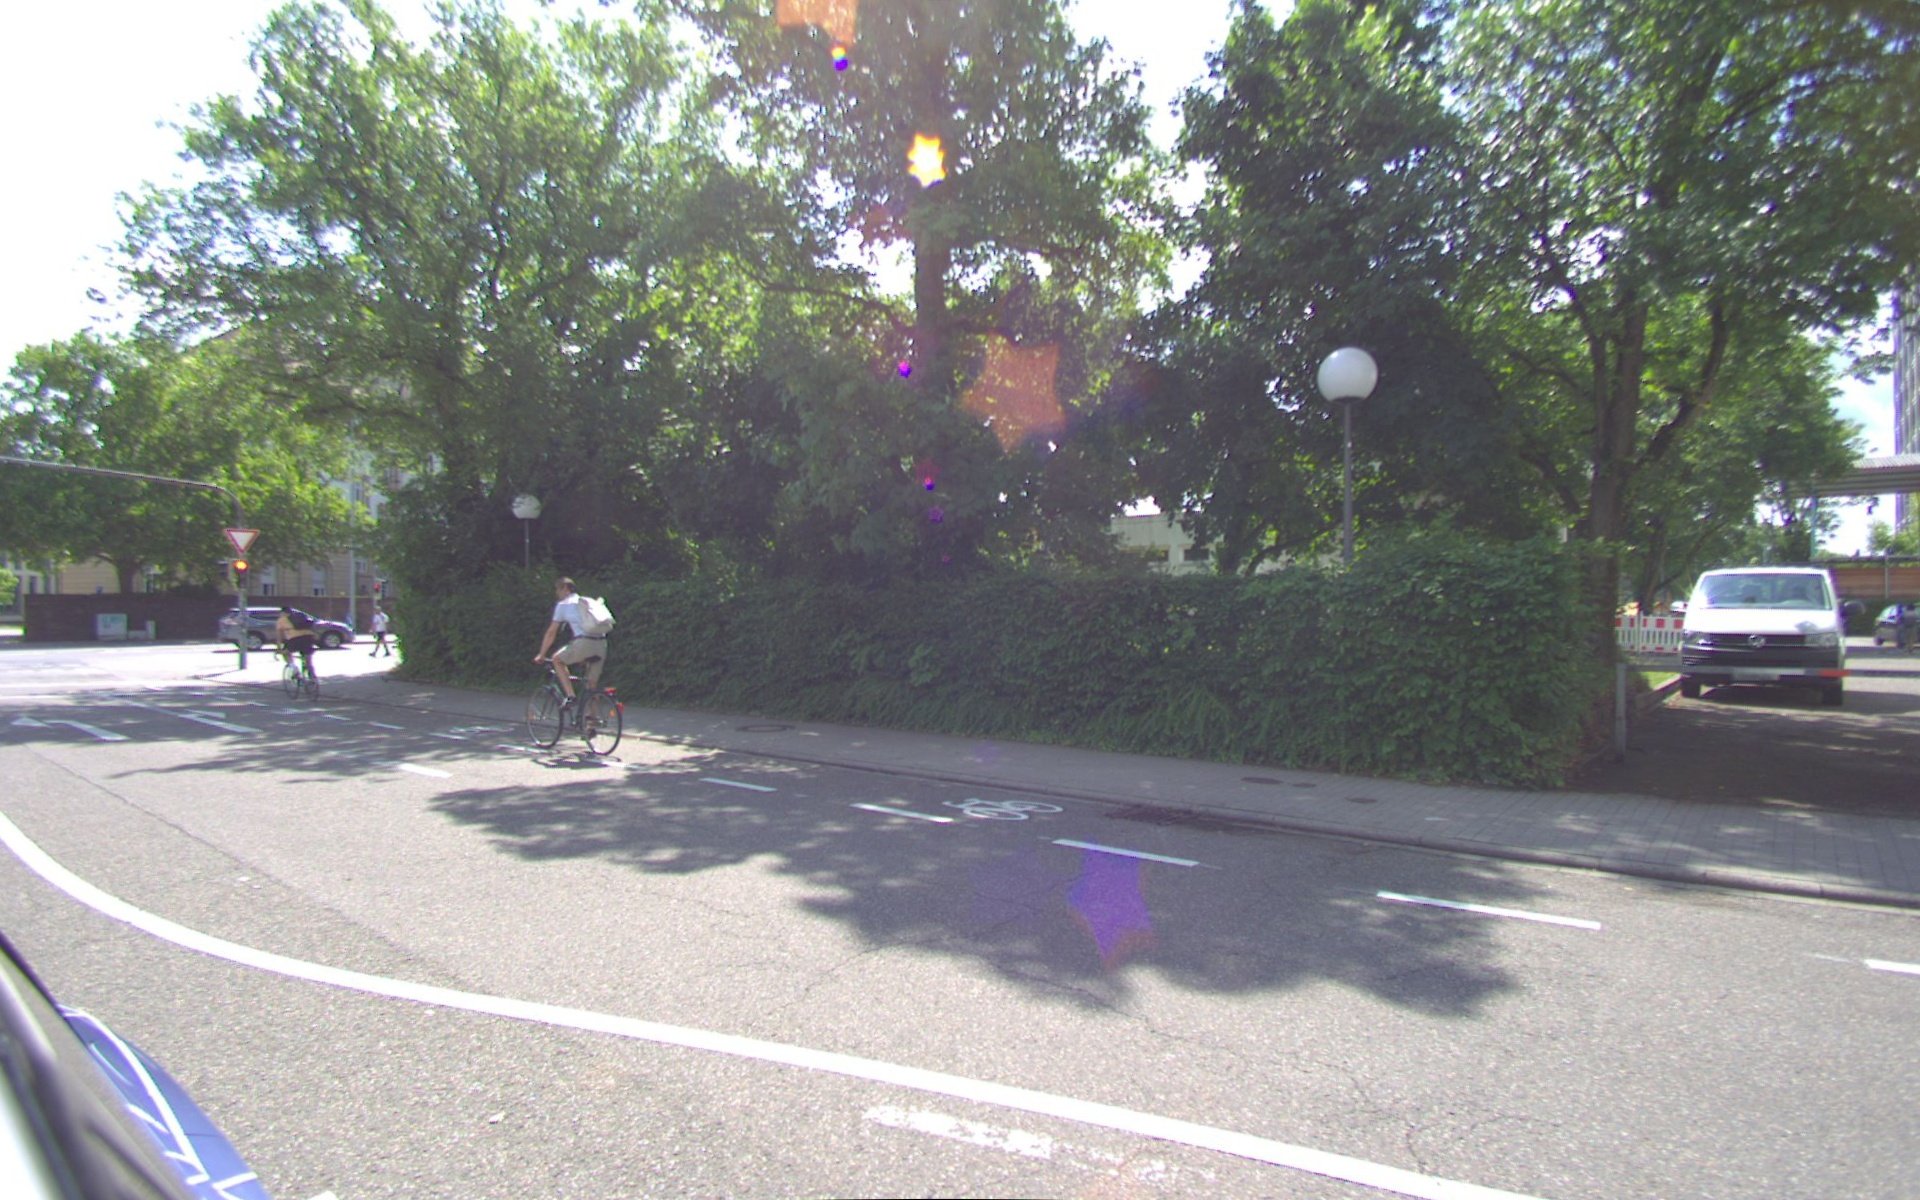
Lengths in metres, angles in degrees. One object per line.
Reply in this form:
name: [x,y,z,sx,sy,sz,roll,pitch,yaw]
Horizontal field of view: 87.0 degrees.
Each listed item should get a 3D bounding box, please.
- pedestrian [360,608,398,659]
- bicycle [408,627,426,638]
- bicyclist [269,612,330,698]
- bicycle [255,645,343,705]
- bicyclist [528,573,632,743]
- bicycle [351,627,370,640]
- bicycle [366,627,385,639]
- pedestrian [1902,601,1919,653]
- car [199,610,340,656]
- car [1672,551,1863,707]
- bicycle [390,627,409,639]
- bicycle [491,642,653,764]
pedestrian: [-19.765,1.142,34.447,0.854,1.714,0.918,-3,-3,44]
bicycle: [-34.245,2.043,63.829,0.998,0.687,0.407,1,0,16]
bicyclist: [-12.407,1.011,19.015,1.017,1.560,0.686,-1,-1,40]
bicycle: [-12.454,1.383,19.037,2.208,0.996,0.785,-1,-1,40]
bicyclist: [-4.117,0.603,10.969,0.918,1.750,0.686,-1,-1,40]
bicycle: [-36.076,2.011,60.923,0.998,0.687,0.407,1,0,16]
bicycle: [-35.636,2.019,61.685,0.998,0.687,0.407,1,0,16]
pedestrian: [29.054,0.805,30.615,0.772,1.558,0.816,-2,-2,43]
car: [-27.496,1.262,40.374,4.412,1.691,1.827,1,0,-44]
car: [12.483,0.383,15.506,2.000,2.001,4.868,0,0,42]
bicycle: [-34.757,2.035,62.744,0.998,0.687,0.407,1,0,16]
bicycle: [-4.322,1.077,11.189,2.208,1.180,0.685,-1,-1,40]
